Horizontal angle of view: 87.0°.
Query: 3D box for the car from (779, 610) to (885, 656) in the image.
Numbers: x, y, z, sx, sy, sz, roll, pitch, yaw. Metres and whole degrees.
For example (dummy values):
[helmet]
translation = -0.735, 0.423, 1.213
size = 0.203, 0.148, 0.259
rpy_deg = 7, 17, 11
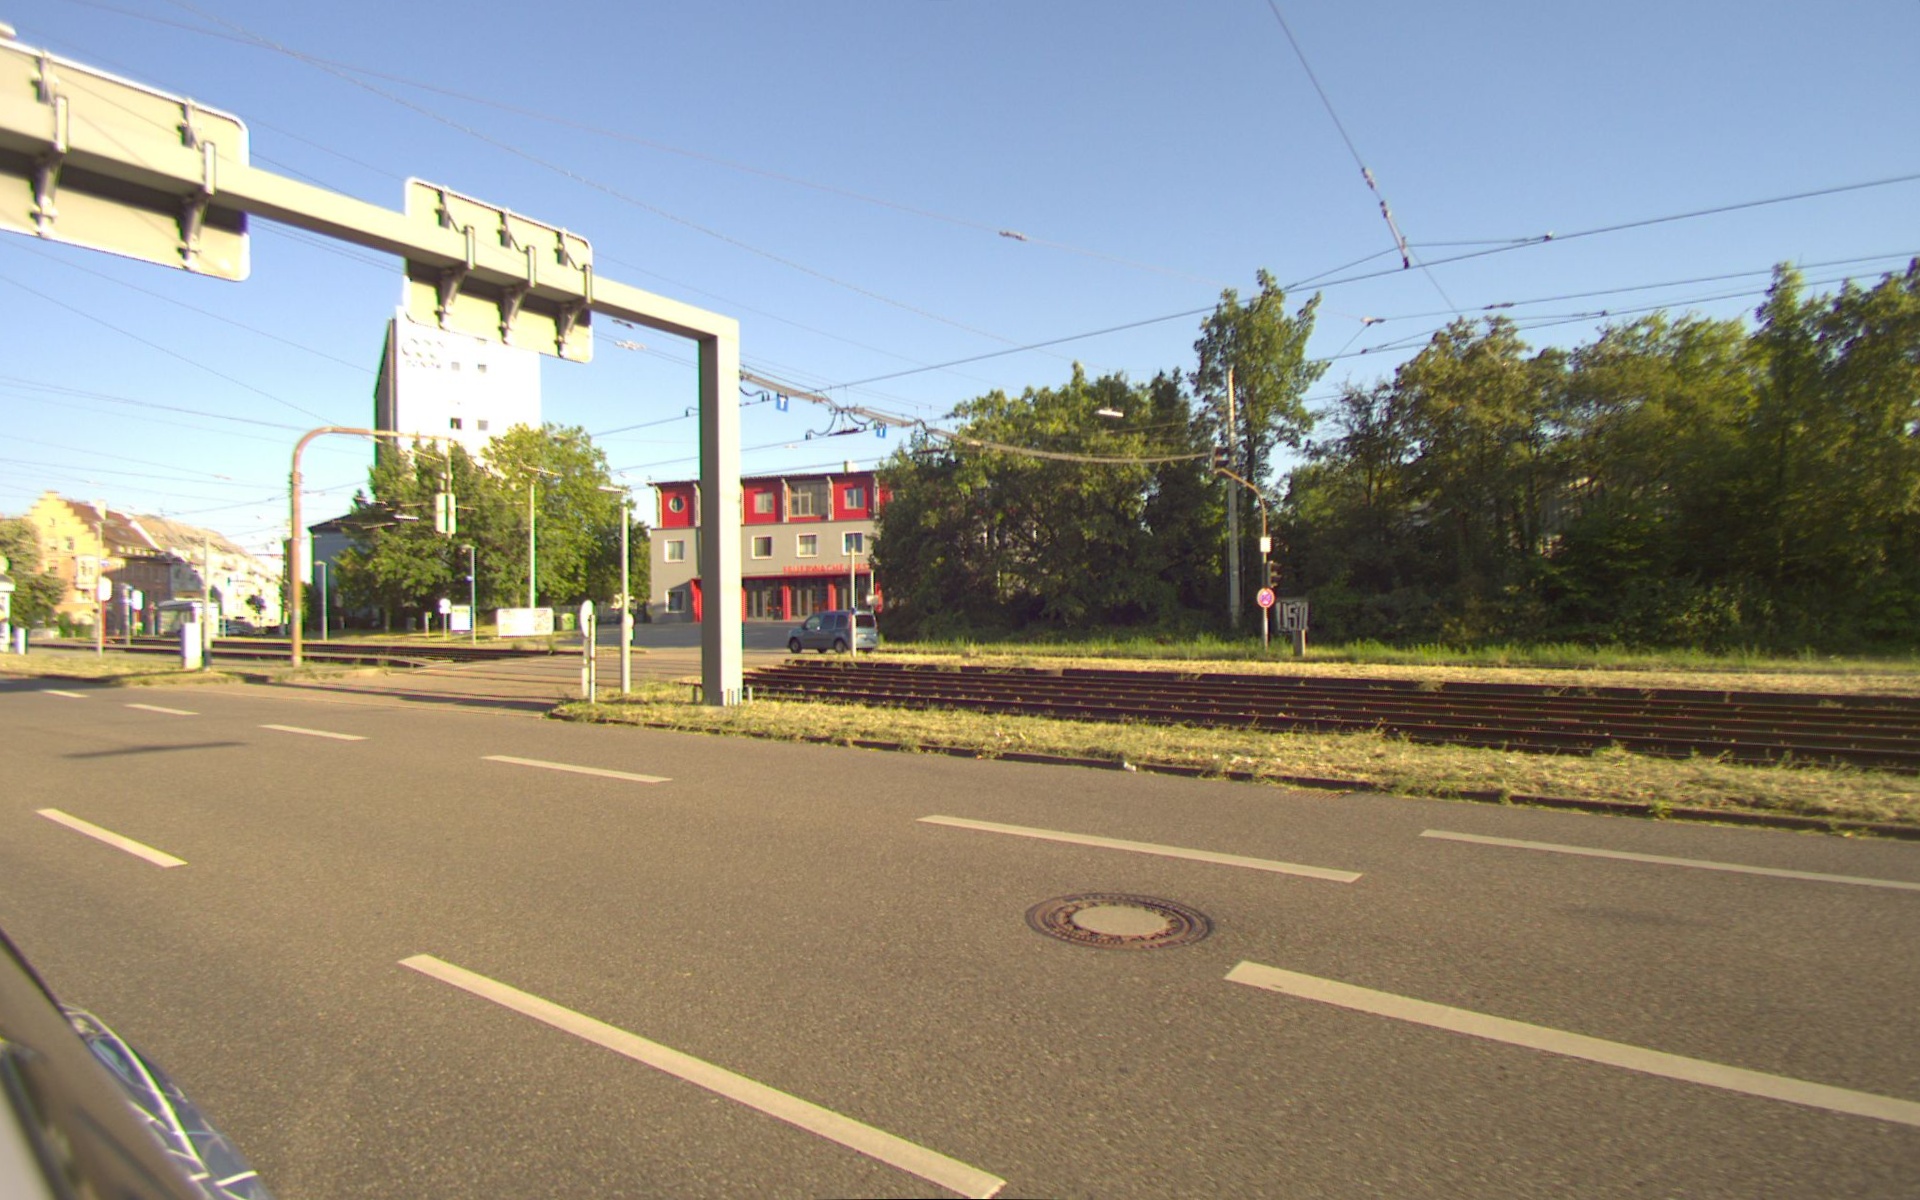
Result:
[car]
translation = -5.303, 1.362, 41.701
size = 4.253, 1.801, 1.914
rpy_deg = -2, -2, 39
